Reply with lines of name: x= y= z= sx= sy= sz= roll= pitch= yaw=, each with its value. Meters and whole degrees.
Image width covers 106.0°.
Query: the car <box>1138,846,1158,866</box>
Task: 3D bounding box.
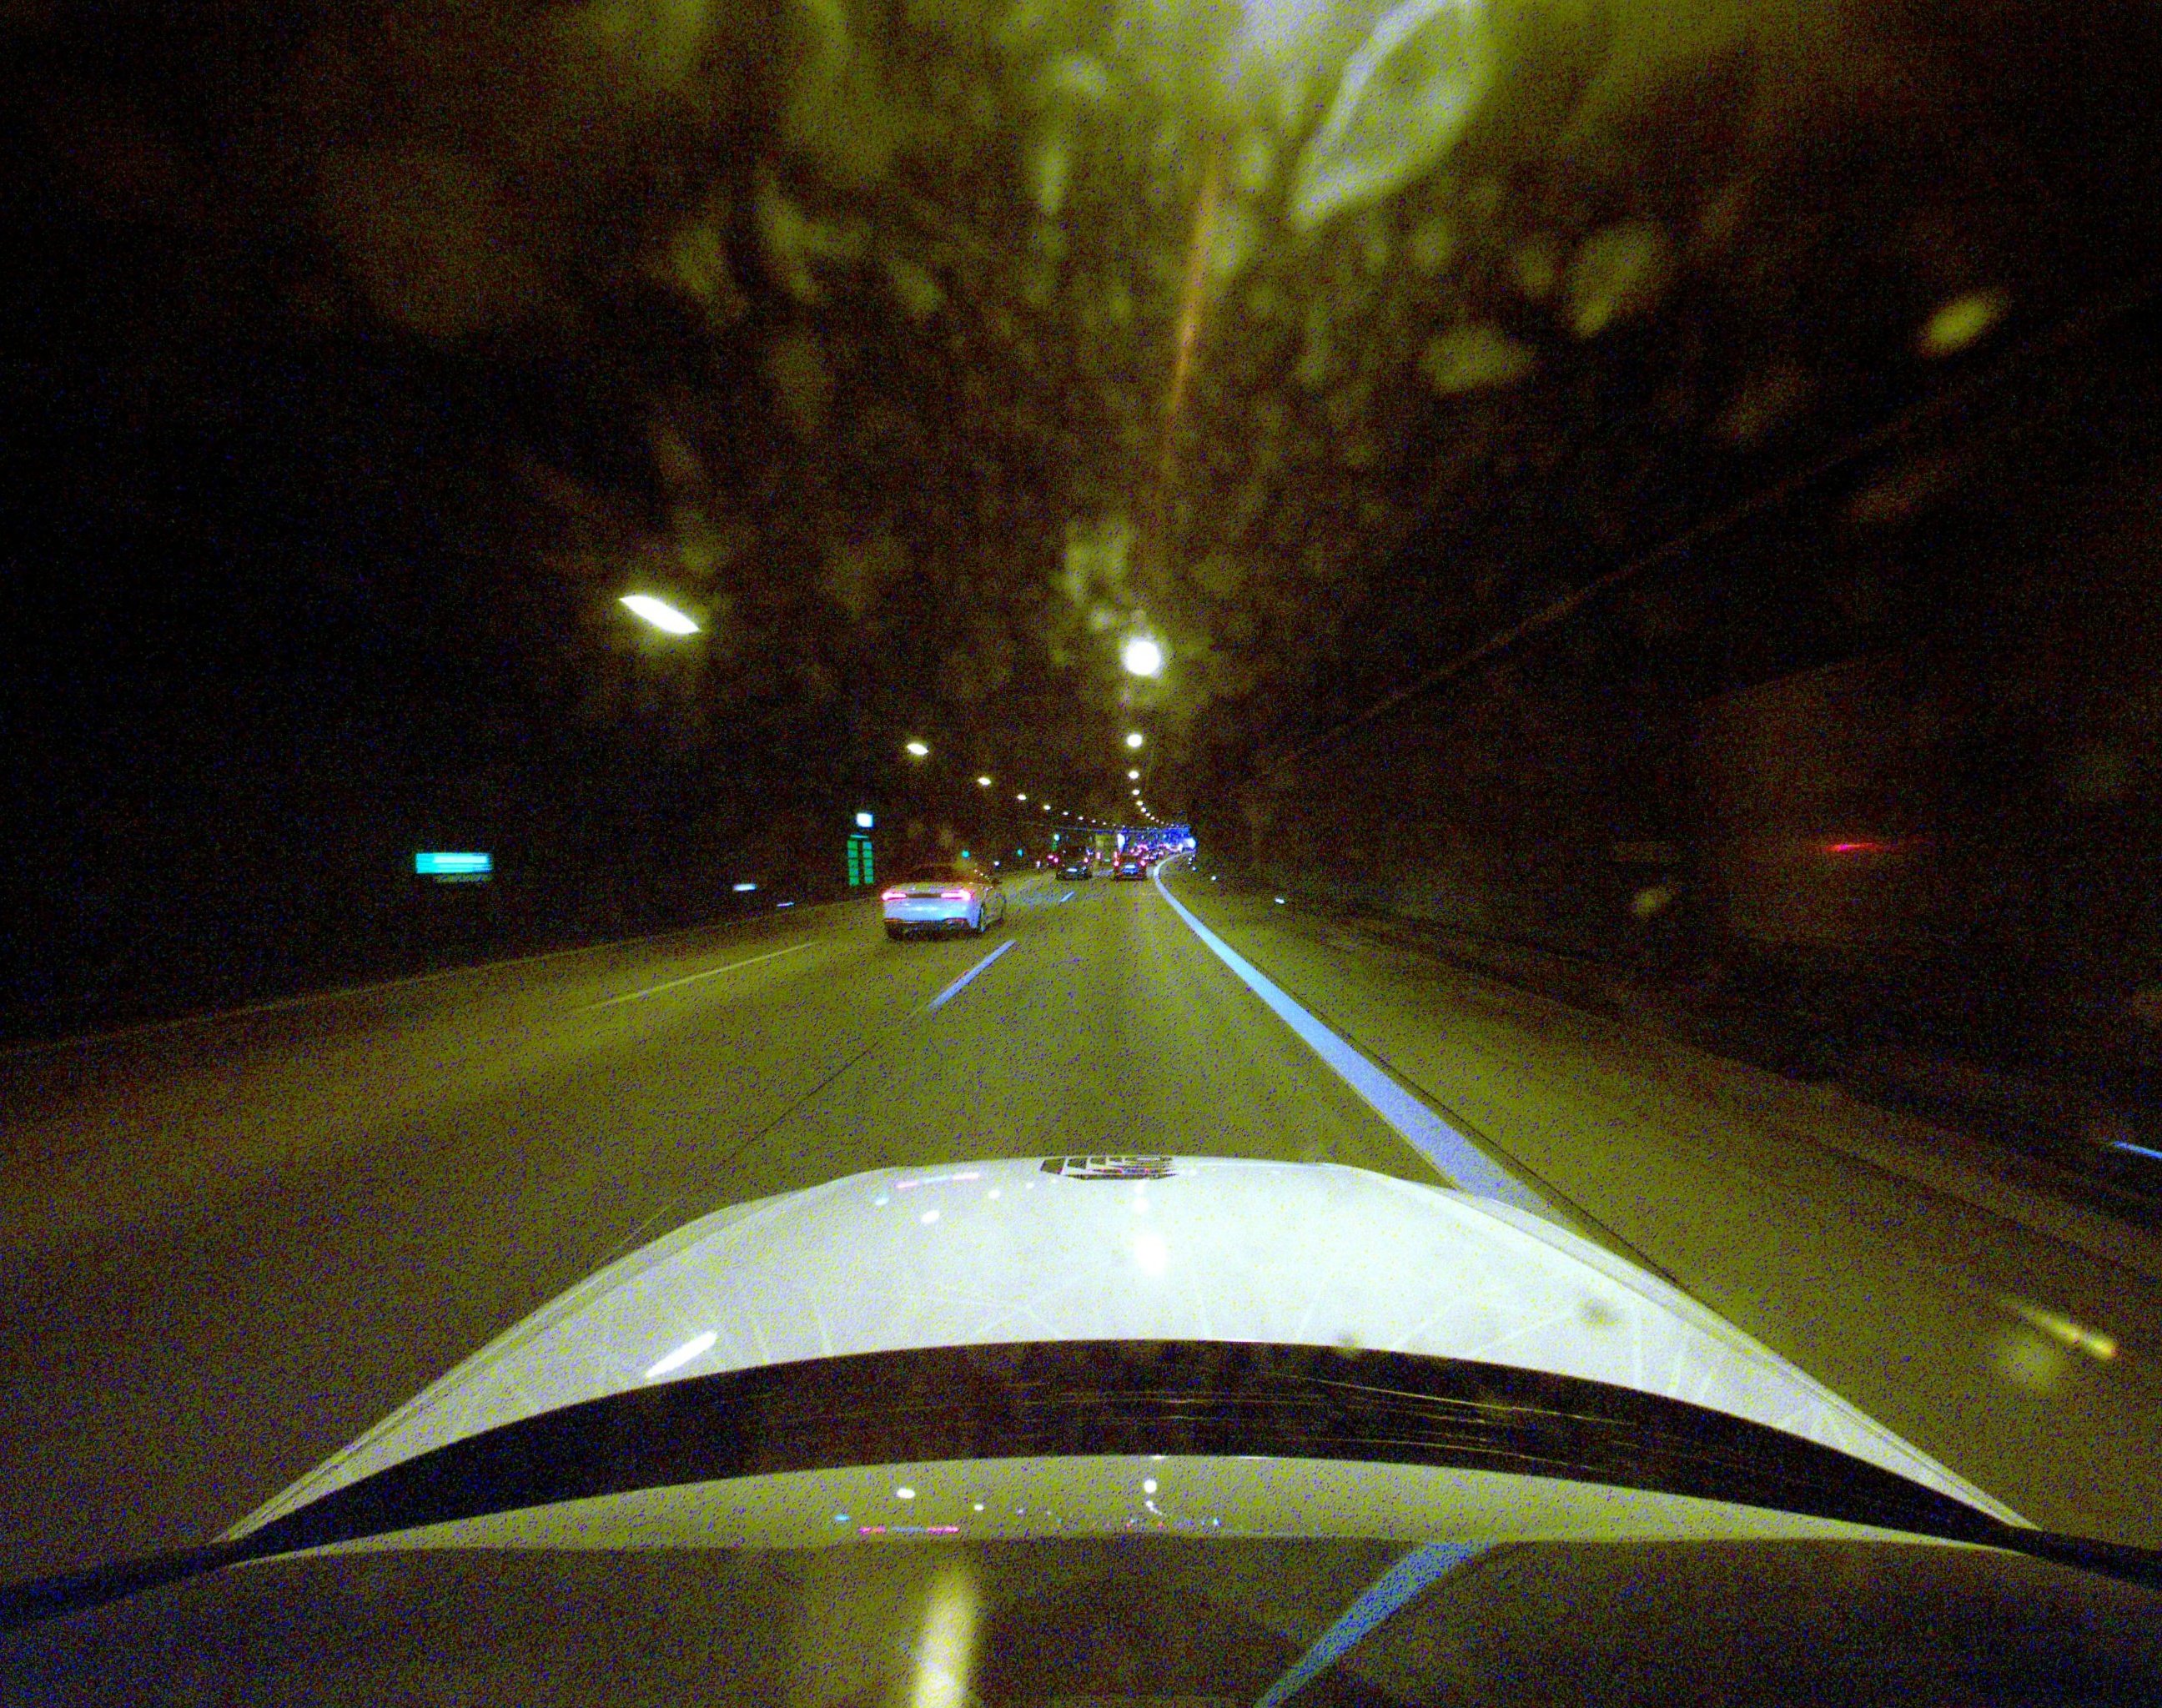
car: x=6.494 y=0.219 z=79.044 sx=1.849 sy=1.854 sz=4.005 roll=-1 pitch=0 yaw=4

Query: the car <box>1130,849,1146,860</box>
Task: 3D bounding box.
car: x=8.639 y=0.105 z=123.474 sx=1.982 sy=1.632 sz=4.009 roll=-1 pitch=0 yaw=8

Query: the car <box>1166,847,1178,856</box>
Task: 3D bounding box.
car: x=16.156 y=-0.427 z=144.298 sx=1.922 sy=1.643 sz=4.004 roll=-1 pitch=-1 yaw=4

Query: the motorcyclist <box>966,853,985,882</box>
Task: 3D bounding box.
motorcyclist: x=-5.315 y=0.675 z=41.000 sx=0.774 sy=1.453 sz=1.069 roll=-1 pitch=-1 yaw=3

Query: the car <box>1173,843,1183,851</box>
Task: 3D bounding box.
car: x=21.692 y=-1.566 z=181.224 sx=1.981 sy=1.632 sz=4.010 roll=-1 pitch=-1 yaw=10

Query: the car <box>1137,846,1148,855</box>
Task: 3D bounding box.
car: x=12.005 y=-0.609 z=158.860 sx=1.920 sy=1.642 sz=4.009 roll=-1 pitch=0 yaw=8

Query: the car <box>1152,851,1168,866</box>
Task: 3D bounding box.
car: x=10.083 y=0.571 z=104.636 sx=1.941 sy=1.772 sz=4.004 roll=-1 pitch=-1 yaw=4

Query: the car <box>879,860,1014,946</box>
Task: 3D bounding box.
car: x=-2.573 y=0.879 z=16.813 sx=1.695 sy=1.419 sz=5.064 roll=-1 pitch=0 yaw=3

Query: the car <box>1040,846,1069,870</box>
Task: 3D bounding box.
car: x=-2.341 y=0.344 z=71.845 sx=1.983 sy=2.013 sz=4.007 roll=-1 pitch=0 yaw=6

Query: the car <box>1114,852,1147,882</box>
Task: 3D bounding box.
car: x=2.799 y=0.692 z=45.532 sx=1.734 sy=1.464 sz=3.877 roll=-1 pitch=1 yaw=5

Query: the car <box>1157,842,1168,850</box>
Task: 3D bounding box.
car: x=18.839 y=-1.805 z=187.329 sx=1.917 sy=1.643 sz=4.015 roll=-1 pitch=-1 yaw=14

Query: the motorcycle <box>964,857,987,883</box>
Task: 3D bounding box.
motorcycle: x=-5.310 y=0.807 z=41.032 sx=0.680 sy=1.297 sz=2.401 roll=-1 pitch=-1 yaw=4

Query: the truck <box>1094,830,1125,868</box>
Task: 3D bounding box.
truck: x=2.970 y=-0.481 z=83.960 sx=3.027 sy=3.673 sz=7.397 roll=-1 pitch=0 yaw=2

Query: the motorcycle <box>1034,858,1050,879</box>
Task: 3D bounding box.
motorcycle: x=-2.673 y=1.020 z=56.645 sx=0.923 sy=1.434 sz=2.964 roll=0 pitch=-1 yaw=1

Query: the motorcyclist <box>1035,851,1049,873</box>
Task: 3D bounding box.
motorcyclist: x=-2.692 y=0.558 z=56.675 sx=0.803 sy=1.448 sz=1.865 roll=-1 pitch=-2 yaw=1

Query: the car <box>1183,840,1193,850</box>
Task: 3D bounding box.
car: x=22.598 y=-1.885 z=171.402 sx=1.982 sy=2.014 sz=4.009 roll=-1 pitch=-1 yaw=9

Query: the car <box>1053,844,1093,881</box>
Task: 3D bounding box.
car: x=-0.417 y=0.445 z=46.868 sx=1.901 sy=1.944 sz=3.876 roll=-1 pitch=1 yaw=4
